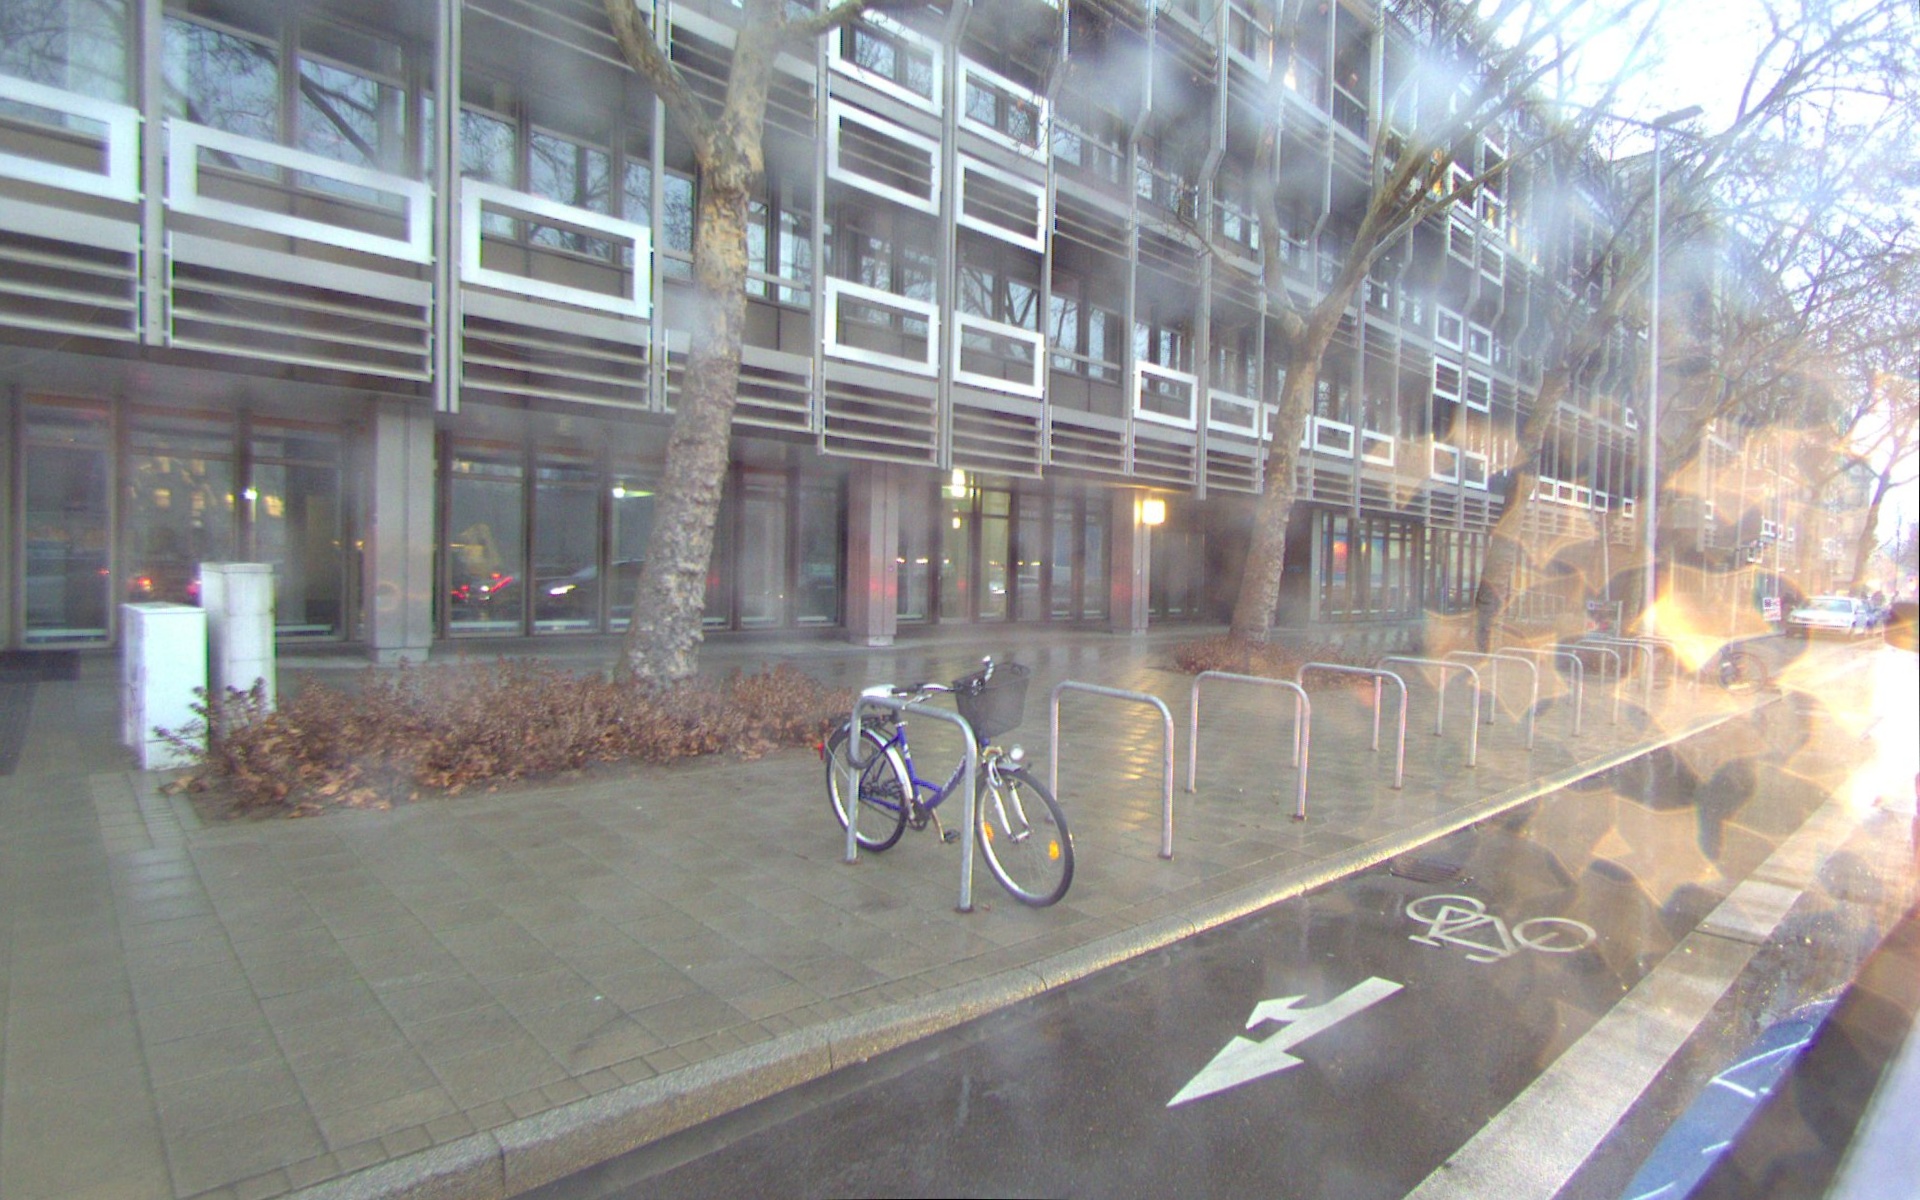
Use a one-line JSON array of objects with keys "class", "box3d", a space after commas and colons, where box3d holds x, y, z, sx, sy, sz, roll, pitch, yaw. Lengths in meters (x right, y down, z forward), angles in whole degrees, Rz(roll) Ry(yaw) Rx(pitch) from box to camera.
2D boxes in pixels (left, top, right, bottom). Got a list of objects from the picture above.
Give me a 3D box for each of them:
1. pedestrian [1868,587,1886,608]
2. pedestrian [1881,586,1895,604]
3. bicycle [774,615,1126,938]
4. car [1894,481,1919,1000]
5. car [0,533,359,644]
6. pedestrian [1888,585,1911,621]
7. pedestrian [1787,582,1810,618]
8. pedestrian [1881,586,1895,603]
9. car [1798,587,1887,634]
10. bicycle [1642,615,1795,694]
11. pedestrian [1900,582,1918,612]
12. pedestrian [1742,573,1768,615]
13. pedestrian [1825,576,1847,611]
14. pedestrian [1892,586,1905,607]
[{"class": "pedestrian", "box3d": [59.913, -0.172, 66.123, 0.738, 1.354, 0.781, 0, 0, -41]}, {"class": "pedestrian", "box3d": [70.452, -0.392, 76.843, 0.777, 1.354, 0.718, 0, 0, -41]}, {"class": "bicycle", "box3d": [-0.135, 0.713, 4.876, 0.629, 1.145, 1.810, 2, 2, -41]}, {"class": "car", "box3d": [5.463, 0.486, 4.349, 3.933, 1.864, 1.875, -1, 0, -43]}, {"class": "car", "box3d": [-10.735, -0.195, 13.986, 3.929, 1.326, 1.998, 0, 3, -40]}, {"class": "pedestrian", "box3d": [47.125, 0.136, 50.777, 0.765, 1.771, 0.913, 2, 2, 45]}, {"class": "pedestrian", "box3d": [41.622, -0.008, 50.228, 0.765, 1.771, 0.913, 2, 2, 45]}, {"class": "pedestrian", "box3d": [71.909, -0.415, 78.400, 0.777, 1.354, 0.718, 0, 0, -41]}, {"class": "car", "box3d": [29.465, 0.303, 33.749, 3.930, 1.482, 1.711, -1, 1, -41]}, {"class": "bicycle", "box3d": [11.664, 0.804, 15.598, 0.864, 1.004, 1.704, 0, 4, -41]}, {"class": "pedestrian", "box3d": [58.732, -0.192, 62.616, 0.765, 1.771, 0.913, 2, 2, 45]}, {"class": "pedestrian", "box3d": [42.777, -0.306, 54.454, 1.056, 2.222, 1.096, 0, 0, 38]}, {"class": "pedestrian", "box3d": [45.355, -0.332, 52.392, 0.765, 1.771, 0.913, 2, 2, 45]}, {"class": "pedestrian", "box3d": [82.446, -0.297, 88.929, 0.765, 1.771, 0.913, 2, 2, 45]}]
